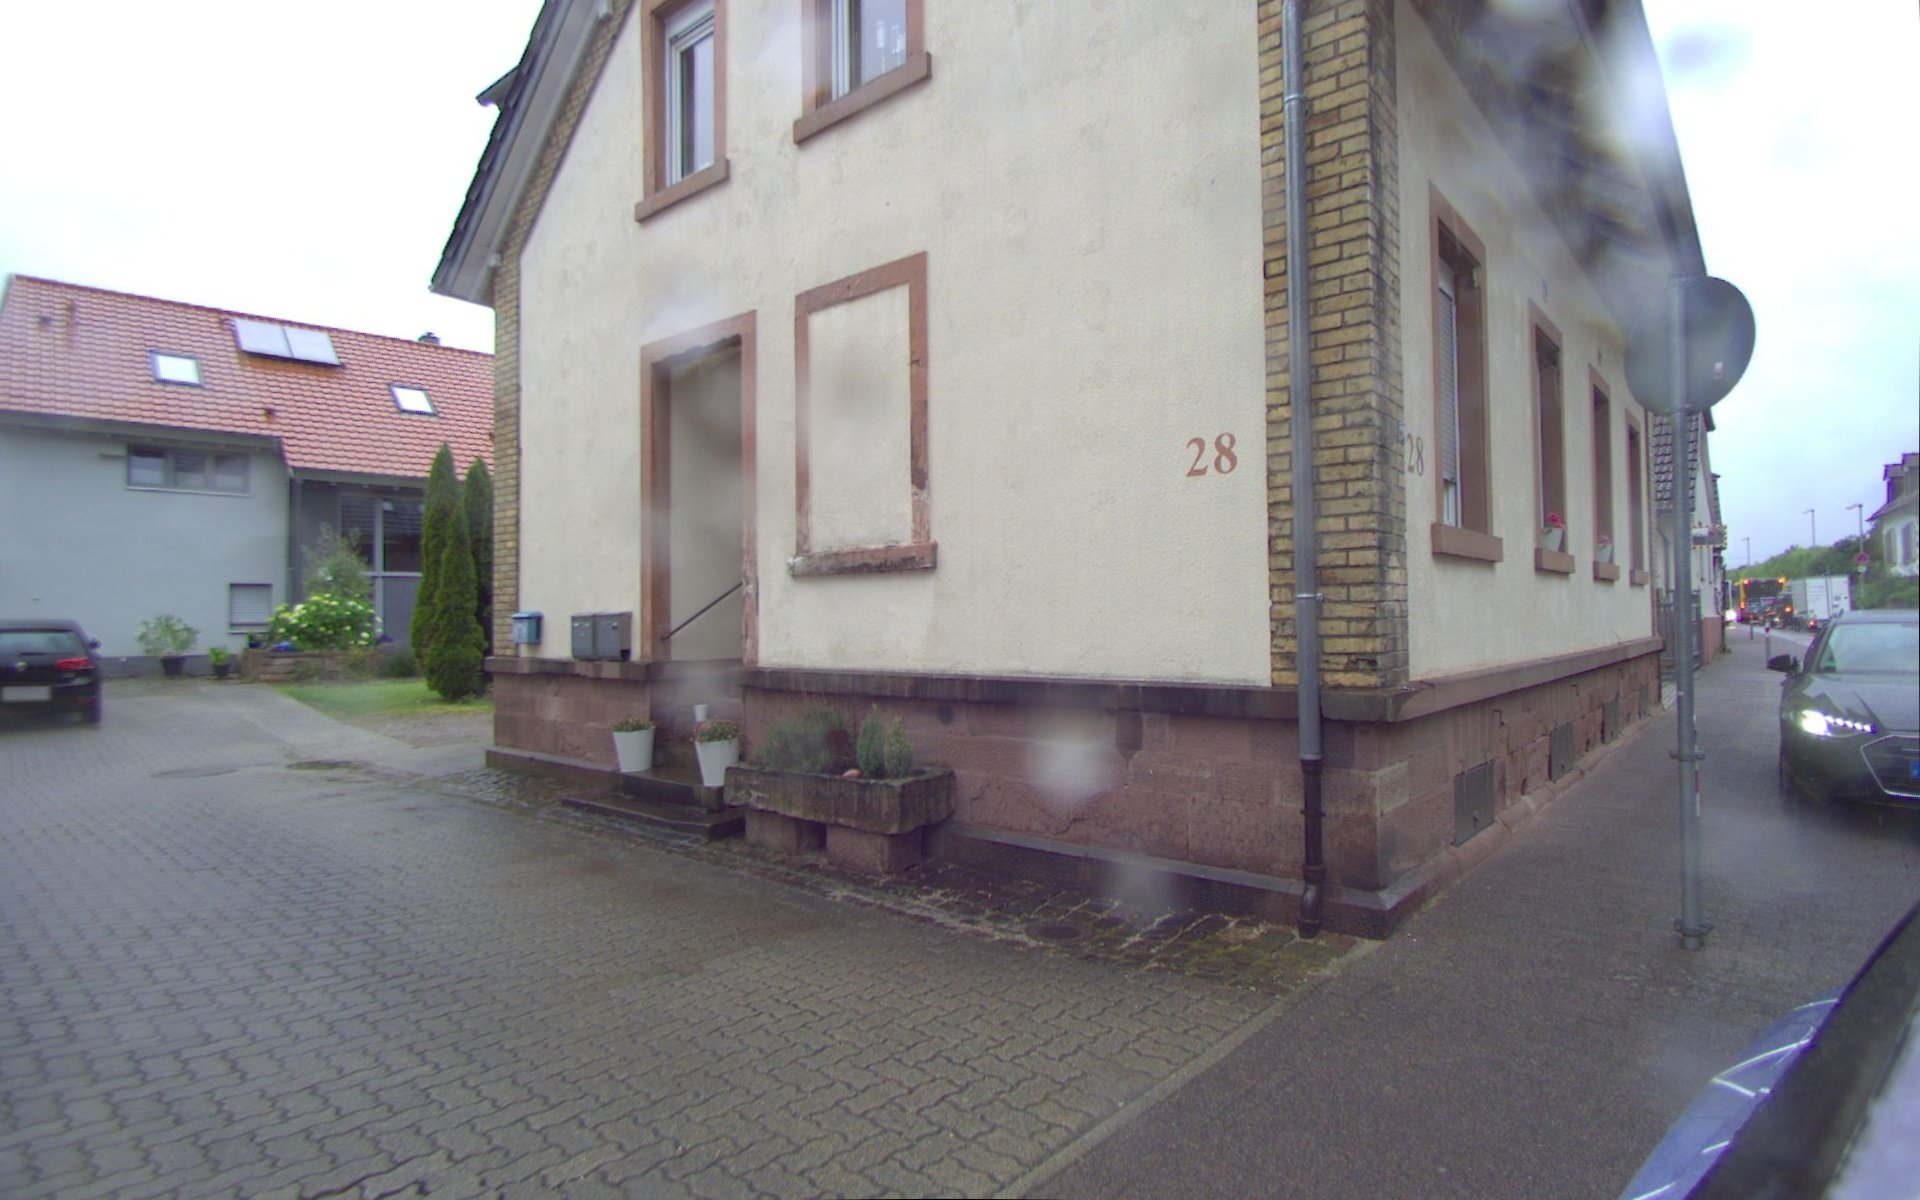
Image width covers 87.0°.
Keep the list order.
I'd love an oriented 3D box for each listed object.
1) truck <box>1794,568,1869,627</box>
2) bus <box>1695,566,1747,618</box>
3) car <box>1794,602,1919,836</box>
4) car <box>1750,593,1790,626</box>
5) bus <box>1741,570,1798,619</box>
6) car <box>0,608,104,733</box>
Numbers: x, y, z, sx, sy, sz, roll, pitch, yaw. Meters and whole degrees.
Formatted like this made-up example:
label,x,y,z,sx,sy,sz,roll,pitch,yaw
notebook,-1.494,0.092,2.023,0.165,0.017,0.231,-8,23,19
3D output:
label,x,y,z,sx,sy,sz,roll,pitch,yaw
truck,40.038,-0.153,46.630,1.987,2.536,5.580,0,0,35
bus,52.358,-0.565,69.810,2.654,3.273,12.032,0,0,36
car,7.371,0.731,7.547,1.732,1.388,4.044,0,0,39
car,48.246,0.542,60.270,1.795,1.839,3.943,0,0,40
bus,57.975,-0.436,72.690,2.654,3.273,12.032,0,0,36
car,-13.943,0.952,15.115,1.656,1.491,3.993,0,2,-42
